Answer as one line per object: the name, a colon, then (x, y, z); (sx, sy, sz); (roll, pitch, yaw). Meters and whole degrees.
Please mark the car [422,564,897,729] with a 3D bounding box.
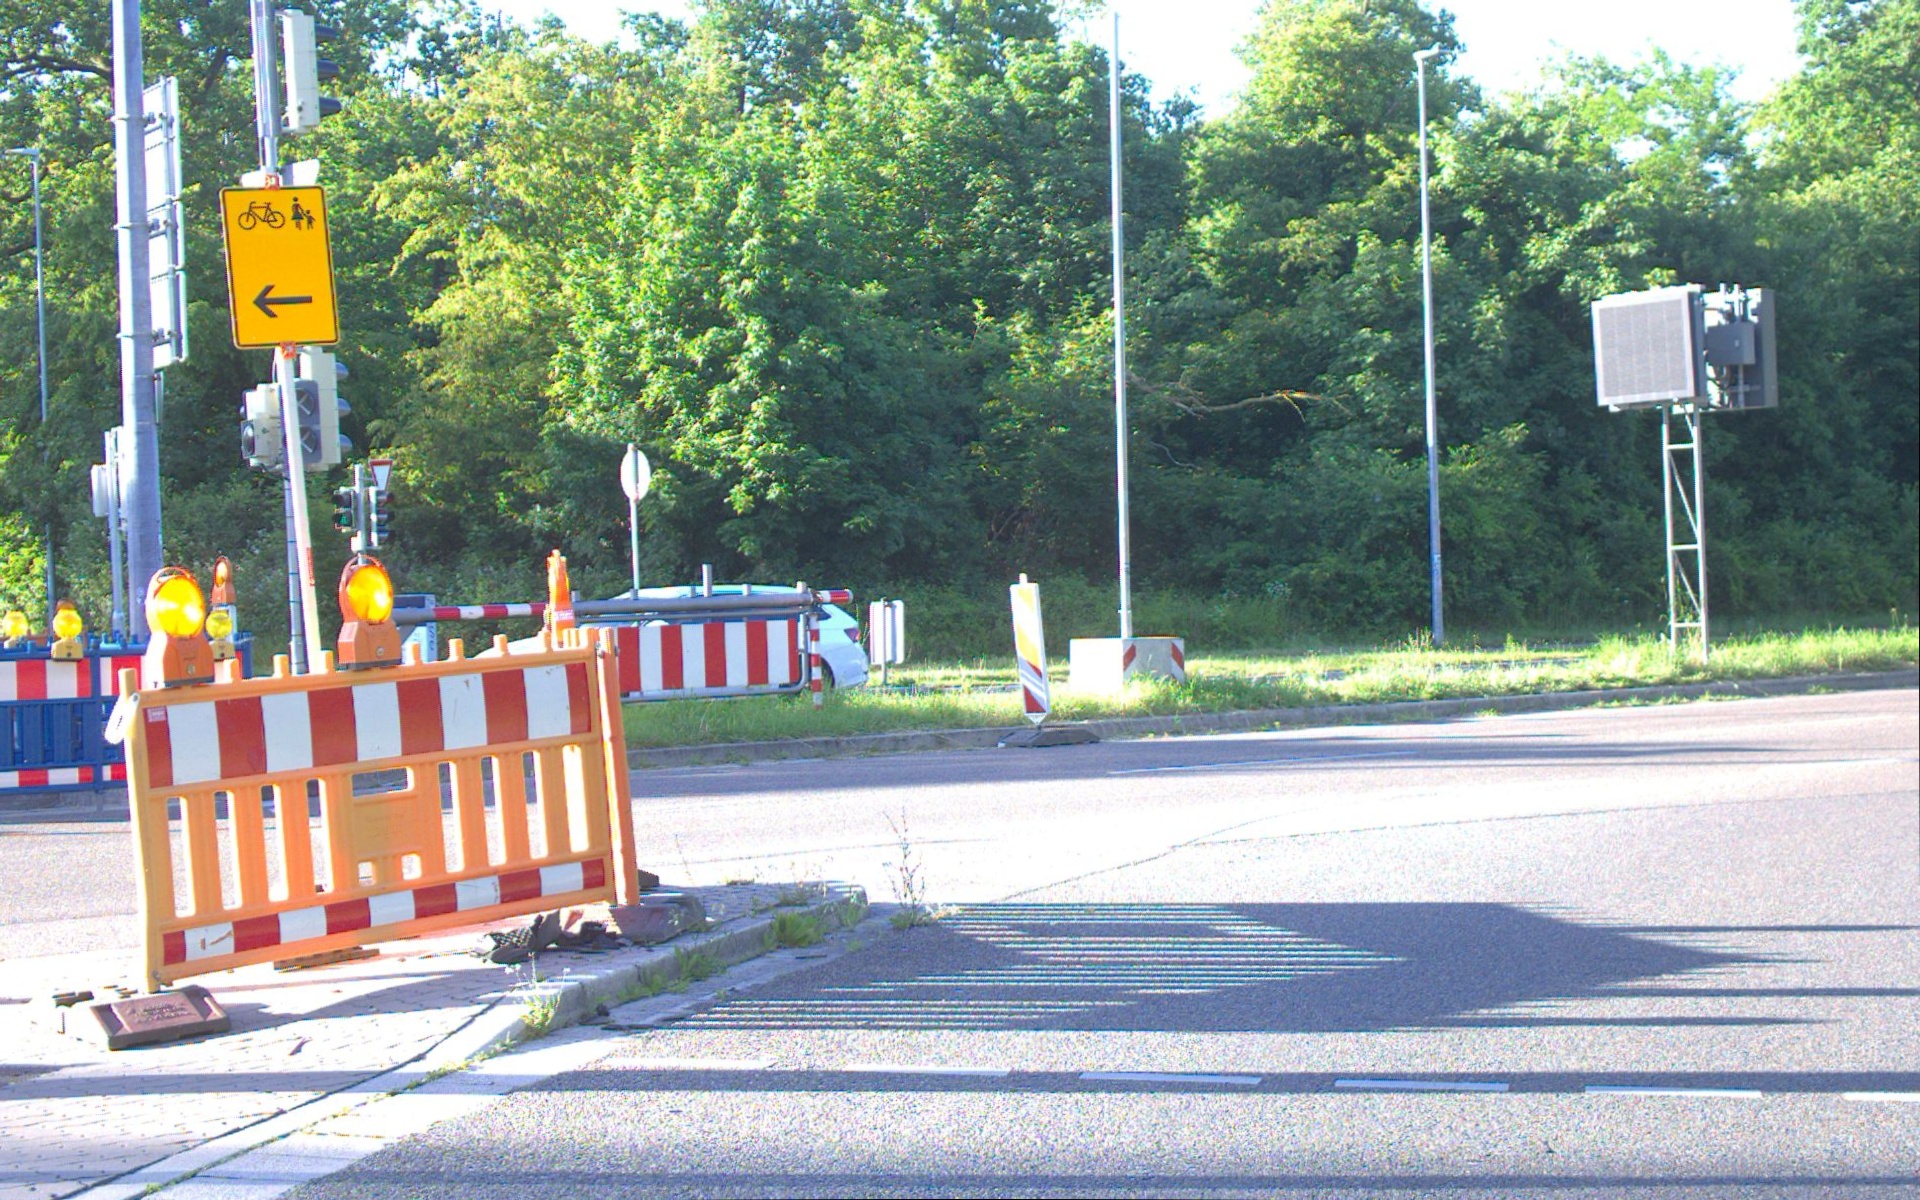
car: (-3.225, 0.472, 37.448); (4.819, 1.575, 1.999); (-2, 1, -39)
